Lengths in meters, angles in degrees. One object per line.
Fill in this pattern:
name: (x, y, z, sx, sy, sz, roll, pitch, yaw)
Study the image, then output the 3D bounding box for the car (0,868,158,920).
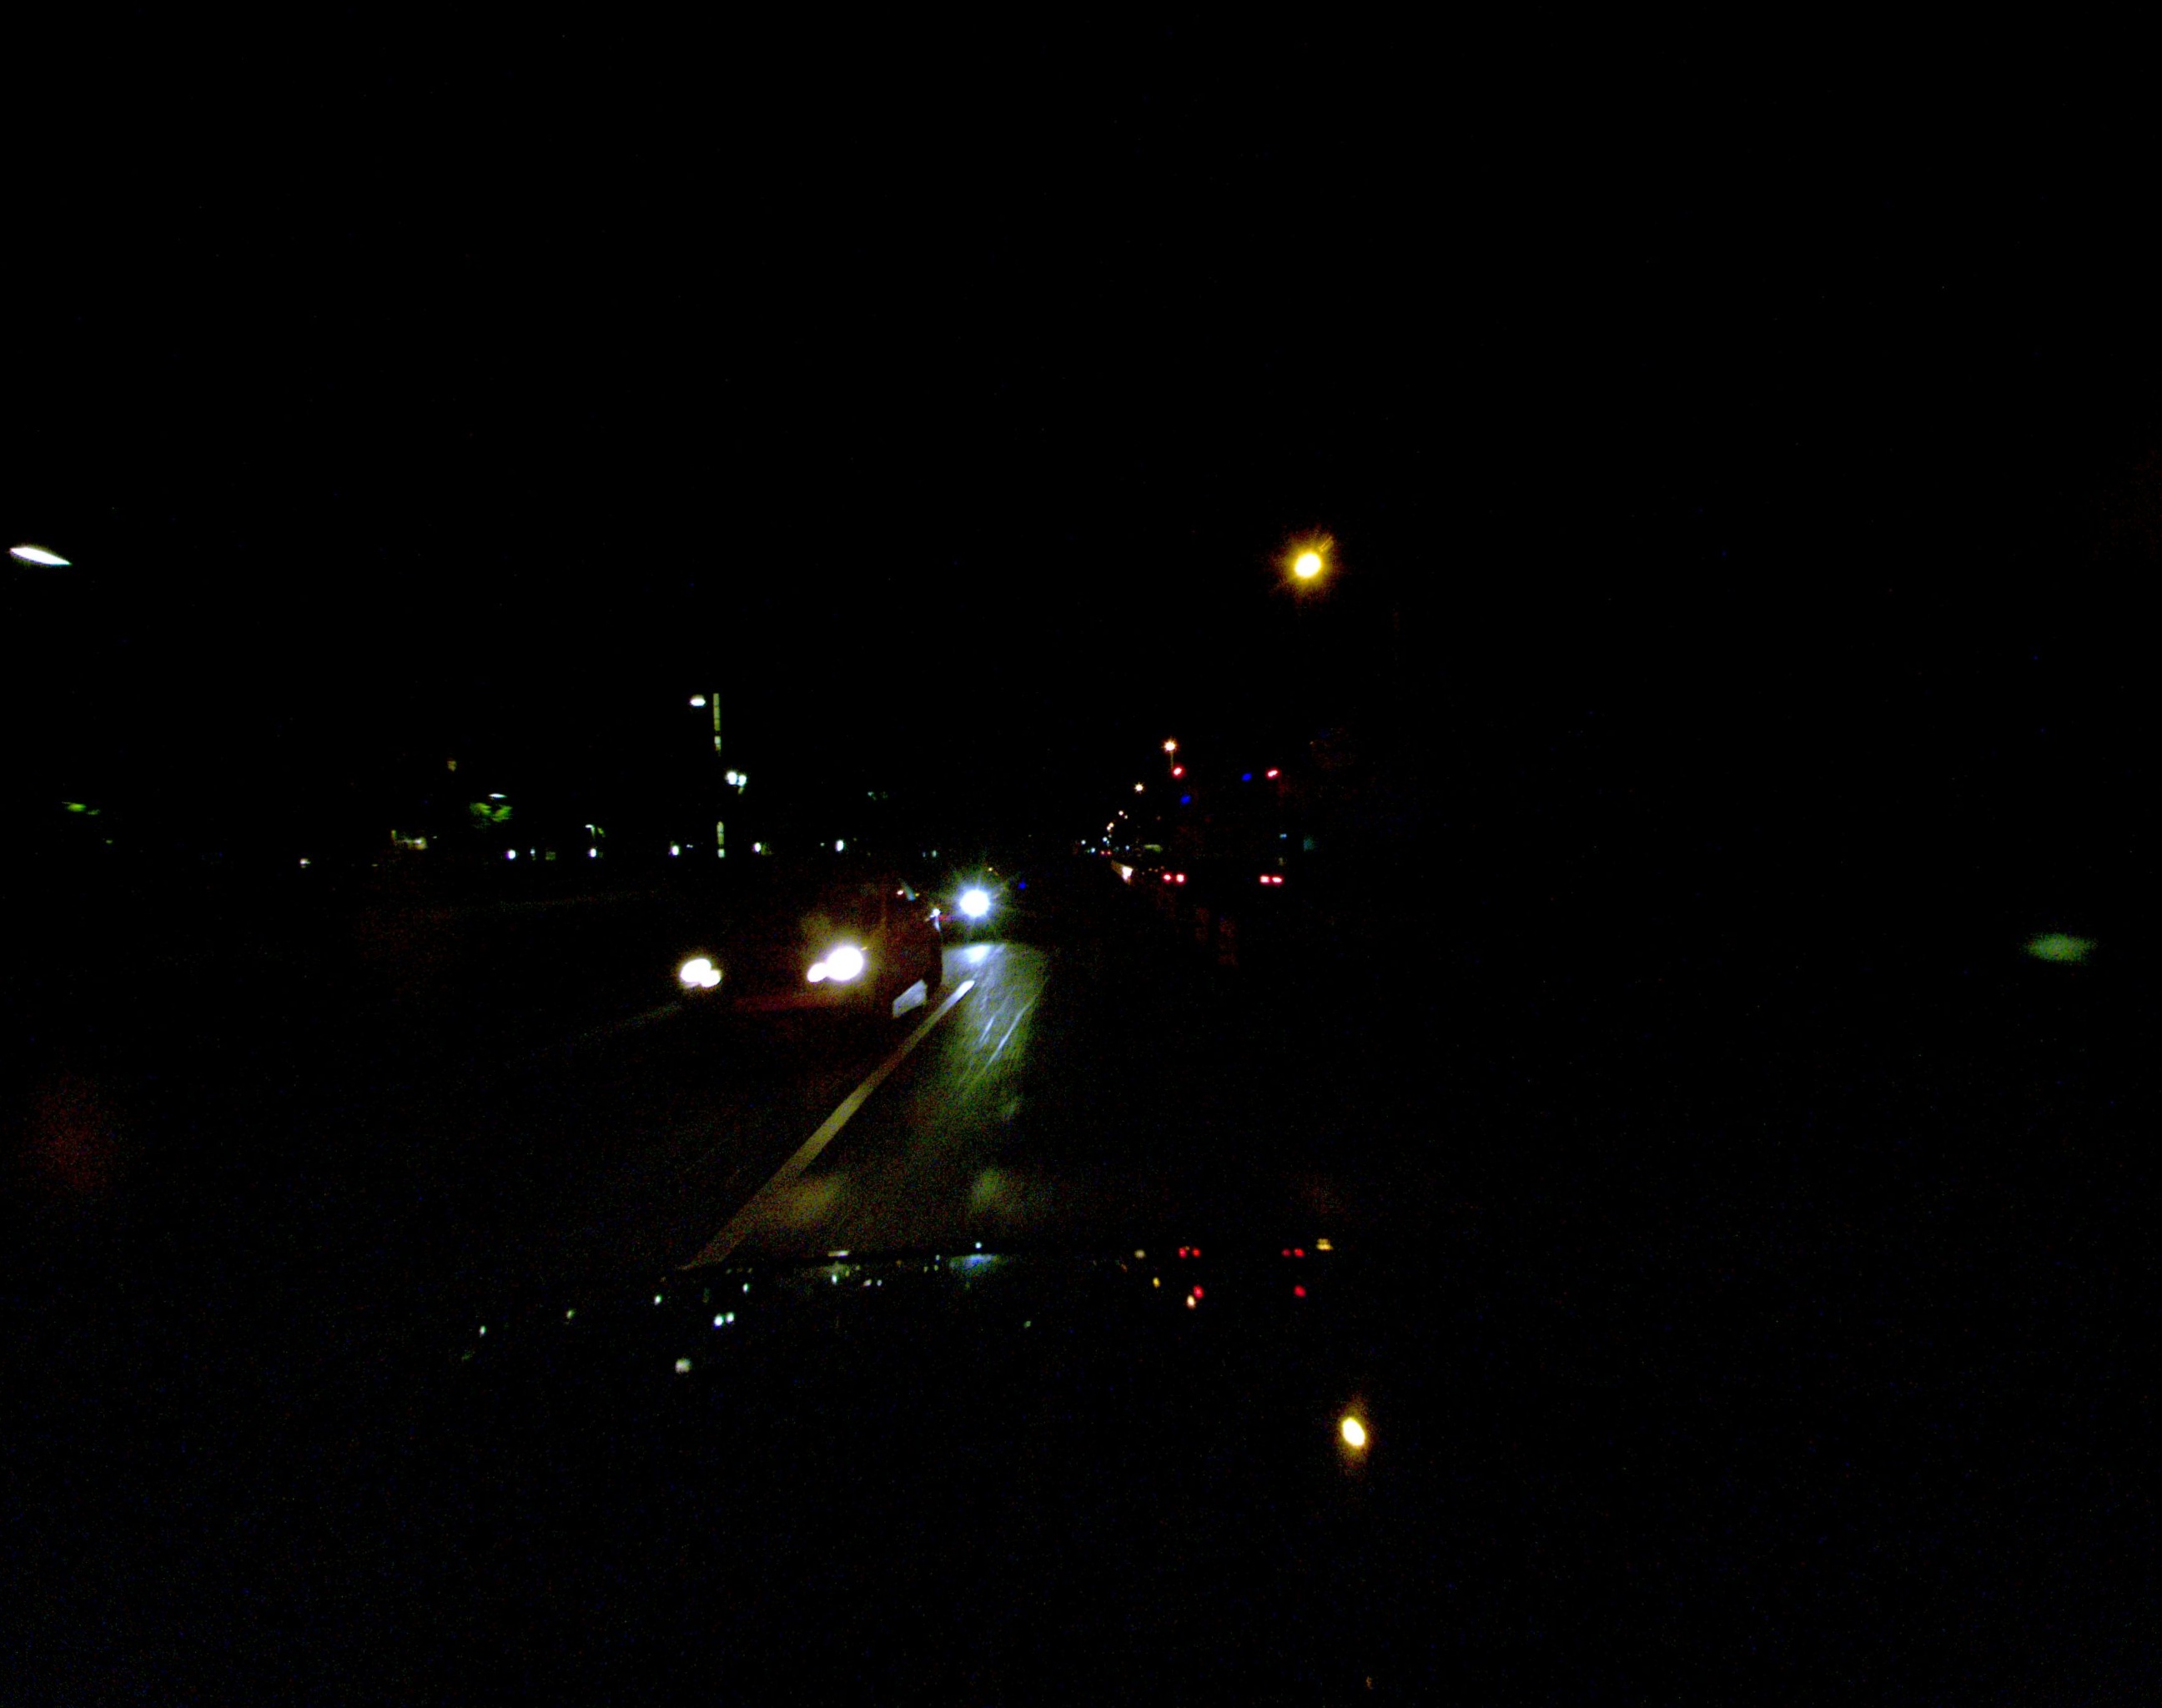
car: (-34.001, 1.284, 24.729, 1.894, 1.504, 4.891, -1, 1, 0)

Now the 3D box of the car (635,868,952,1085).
car: (-2.563, 0.989, 7.881, 1.641, 1.486, 4.000, -3, 1, 1)

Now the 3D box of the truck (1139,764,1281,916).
truck: (3.530, -0.391, 23.628, 2.762, 3.696, 10.111, 0, 1, 0)

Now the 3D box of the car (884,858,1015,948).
car: (-2.646, 0.933, 16.514, 1.809, 1.485, 4.729, -3, 1, 2)

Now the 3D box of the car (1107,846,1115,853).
car: (6.584, -0.936, 167.063, 1.671, 1.420, 3.999, 0, 1, 0)

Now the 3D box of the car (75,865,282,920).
car: (-29.242, 1.198, 24.857, 1.773, 1.524, 4.098, -1, 1, 1)

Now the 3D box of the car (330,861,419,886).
car: (-48.003, 1.283, 51.744, 1.998, 1.499, 4.301, -1, 0, 1)

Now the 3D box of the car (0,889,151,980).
car: (-18.375, 1.360, 12.061, 1.516, 1.387, 4.483, -1, 0, 4)
